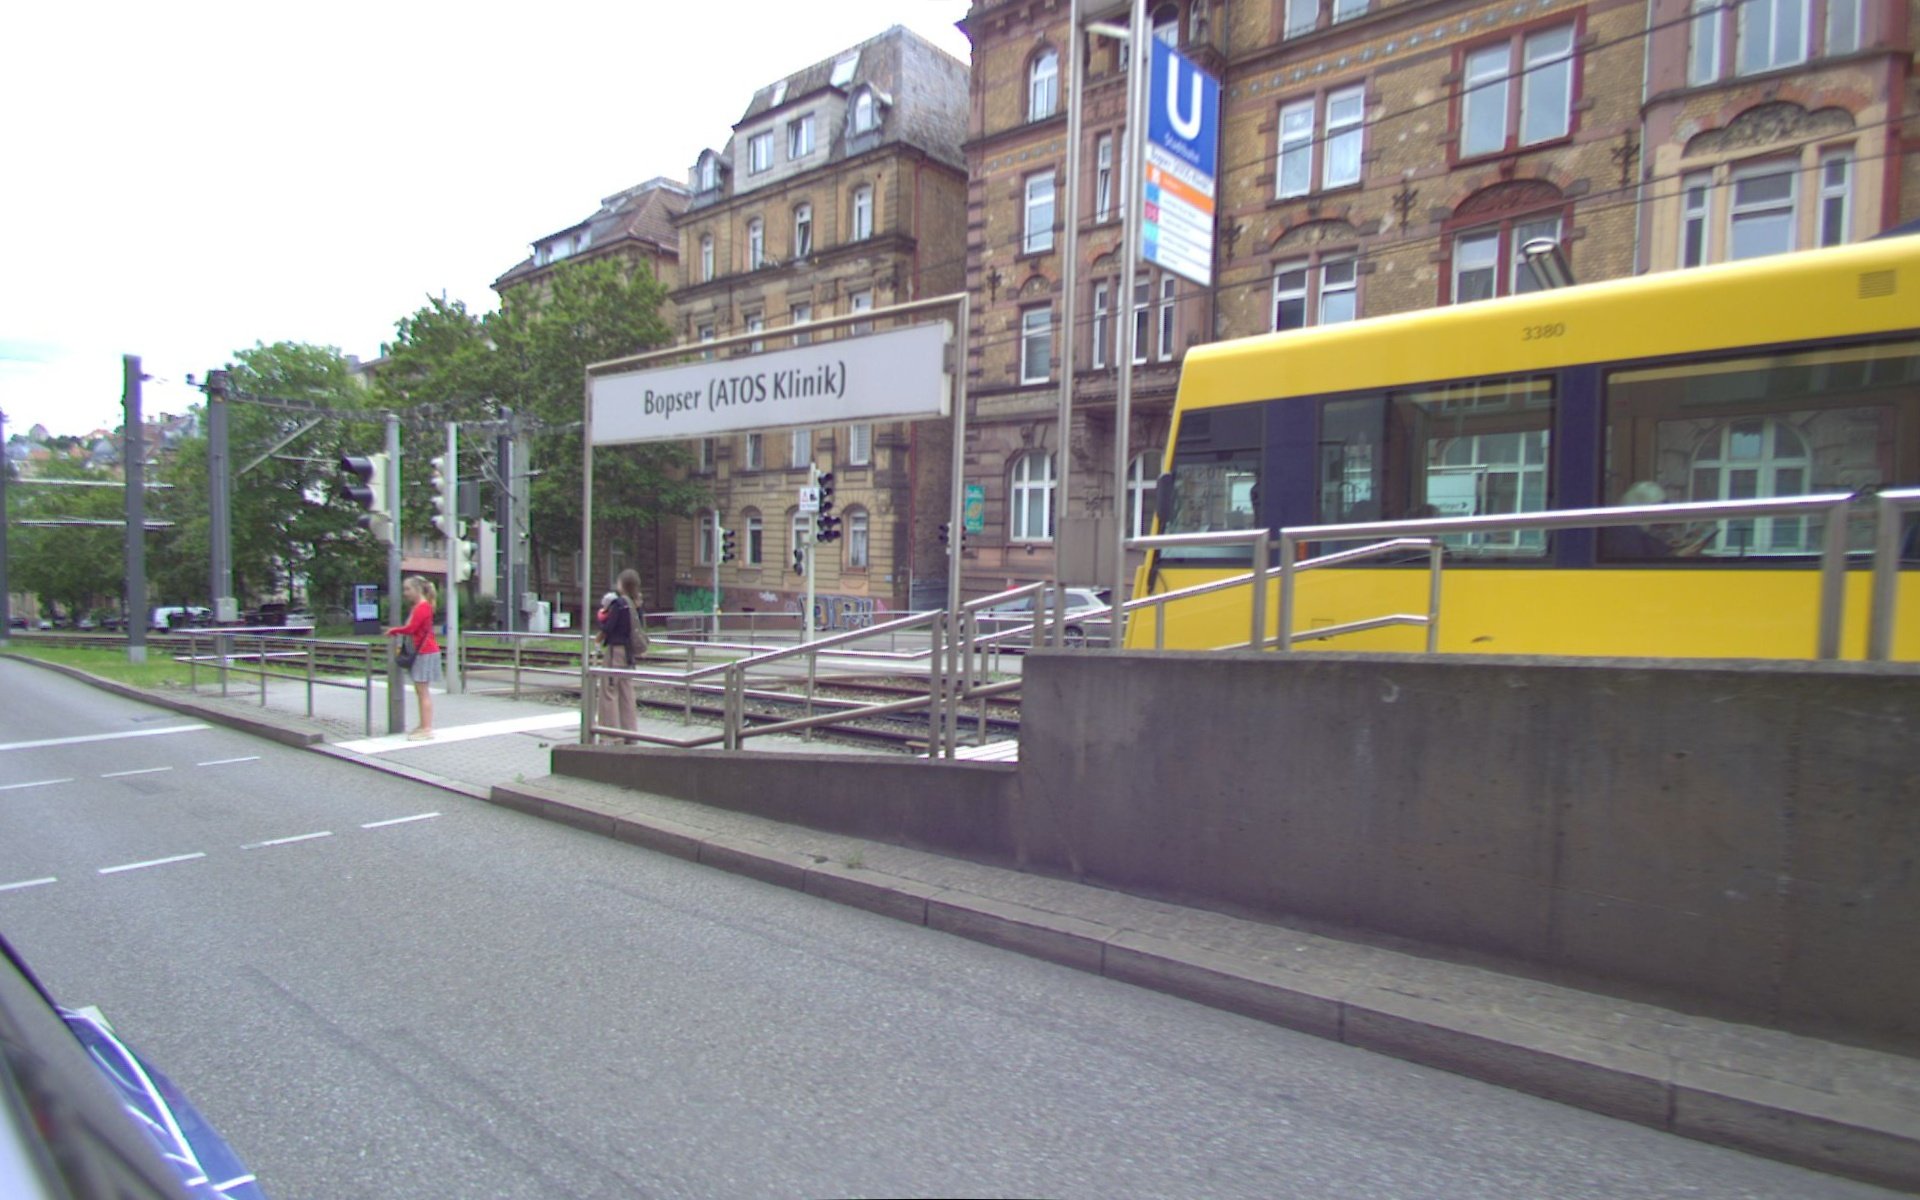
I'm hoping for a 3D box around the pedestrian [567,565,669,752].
[{"bbox_3d":[-3.265,0.533,9.667,0.658,1.708,0.616,-1,0,31],"label":"pedestrian"}]

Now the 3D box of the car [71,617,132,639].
[{"bbox_3d":[-77.765,2.558,91.752,1.775,1.828,3.825,-2,0,25],"label":"car"}]

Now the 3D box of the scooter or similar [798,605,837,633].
[{"bbox_3d":[-4.866,0.646,34.449,0.423,0.949,1.588,-1,0,-44],"label":"scooter or similar"}]

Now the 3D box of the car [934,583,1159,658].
[{"bbox_3d":[1.784,0.434,21.735,4.555,1.429,1.864,-2,0,39],"label":"car"}]

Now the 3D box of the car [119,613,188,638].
[{"bbox_3d":[-62.648,1.962,78.669,1.775,1.827,3.825,-1,1,25],"label":"car"}]

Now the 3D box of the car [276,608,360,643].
[{"bbox_3d":[-35.013,1.347,55.332,1.764,1.700,3.848,-2,1,9],"label":"car"}]

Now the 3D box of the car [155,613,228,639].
[{"bbox_3d":[-54.699,1.816,72.124,1.770,1.700,3.836,-2,0,17],"label":"car"}]

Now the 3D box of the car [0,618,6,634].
[{"bbox_3d":[-117.638,3.191,123.125,3.999,2.029,1.972,-2,0,42],"label":"car"}]

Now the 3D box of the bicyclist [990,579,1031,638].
[{"bbox_3d":[1.303,0.217,26.241,0.812,1.491,0.611,-2,0,44],"label":"bicyclist"}]

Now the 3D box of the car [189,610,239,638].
[{"bbox_3d":[-50.830,1.608,68.999,1.754,1.700,3.871,-2,1,-21],"label":"car"}]

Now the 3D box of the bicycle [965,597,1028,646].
[{"bbox_3d":[0.947,0.566,26.511,1.602,1.232,0.617,-2,0,44],"label":"bicycle"}]

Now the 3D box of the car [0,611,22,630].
[{"bbox_3d":[-107.840,2.363,114.238,3.991,2.029,1.977,-2,0,35],"label":"car"}]

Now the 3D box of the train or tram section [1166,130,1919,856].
[{"bbox_3d":[7.190,-0.500,4.759,12.394,3.569,2.919,2,2,41],"label":"train or tram section"}]

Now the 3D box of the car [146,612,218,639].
[{"bbox_3d":[-56.380,1.835,73.438,1.770,1.828,3.836,-2,0,17],"label":"car"}]

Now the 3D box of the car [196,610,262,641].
[{"bbox_3d":[-46.577,1.611,64.579,1.756,1.700,3.866,-2,2,-9],"label":"car"}]

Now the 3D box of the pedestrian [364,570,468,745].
[{"bbox_3d":[-5.510,0.557,10.256,0.684,1.693,0.671,-1,0,38],"label":"pedestrian"}]

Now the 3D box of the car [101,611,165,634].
[{"bbox_3d":[-70.810,1.933,86.692,1.775,1.828,3.825,-2,0,25],"label":"car"}]

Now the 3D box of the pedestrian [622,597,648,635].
[{"bbox_3d":[-13.415,0.670,41.784,0.740,1.524,0.681,-1,0,42],"label":"pedestrian"}]

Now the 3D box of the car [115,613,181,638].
[{"bbox_3d":[-66.658,2.075,83.108,1.775,1.828,3.825,-2,0,25],"label":"car"}]

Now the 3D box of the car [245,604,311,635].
[{"bbox_3d":[-39.661,1.097,58.950,1.756,1.700,3.866,-2,0,-9],"label":"car"}]

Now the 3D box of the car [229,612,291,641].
[{"bbox_3d":[-44.209,1.640,63.996,1.756,1.700,3.866,-2,0,-9],"label":"car"}]
